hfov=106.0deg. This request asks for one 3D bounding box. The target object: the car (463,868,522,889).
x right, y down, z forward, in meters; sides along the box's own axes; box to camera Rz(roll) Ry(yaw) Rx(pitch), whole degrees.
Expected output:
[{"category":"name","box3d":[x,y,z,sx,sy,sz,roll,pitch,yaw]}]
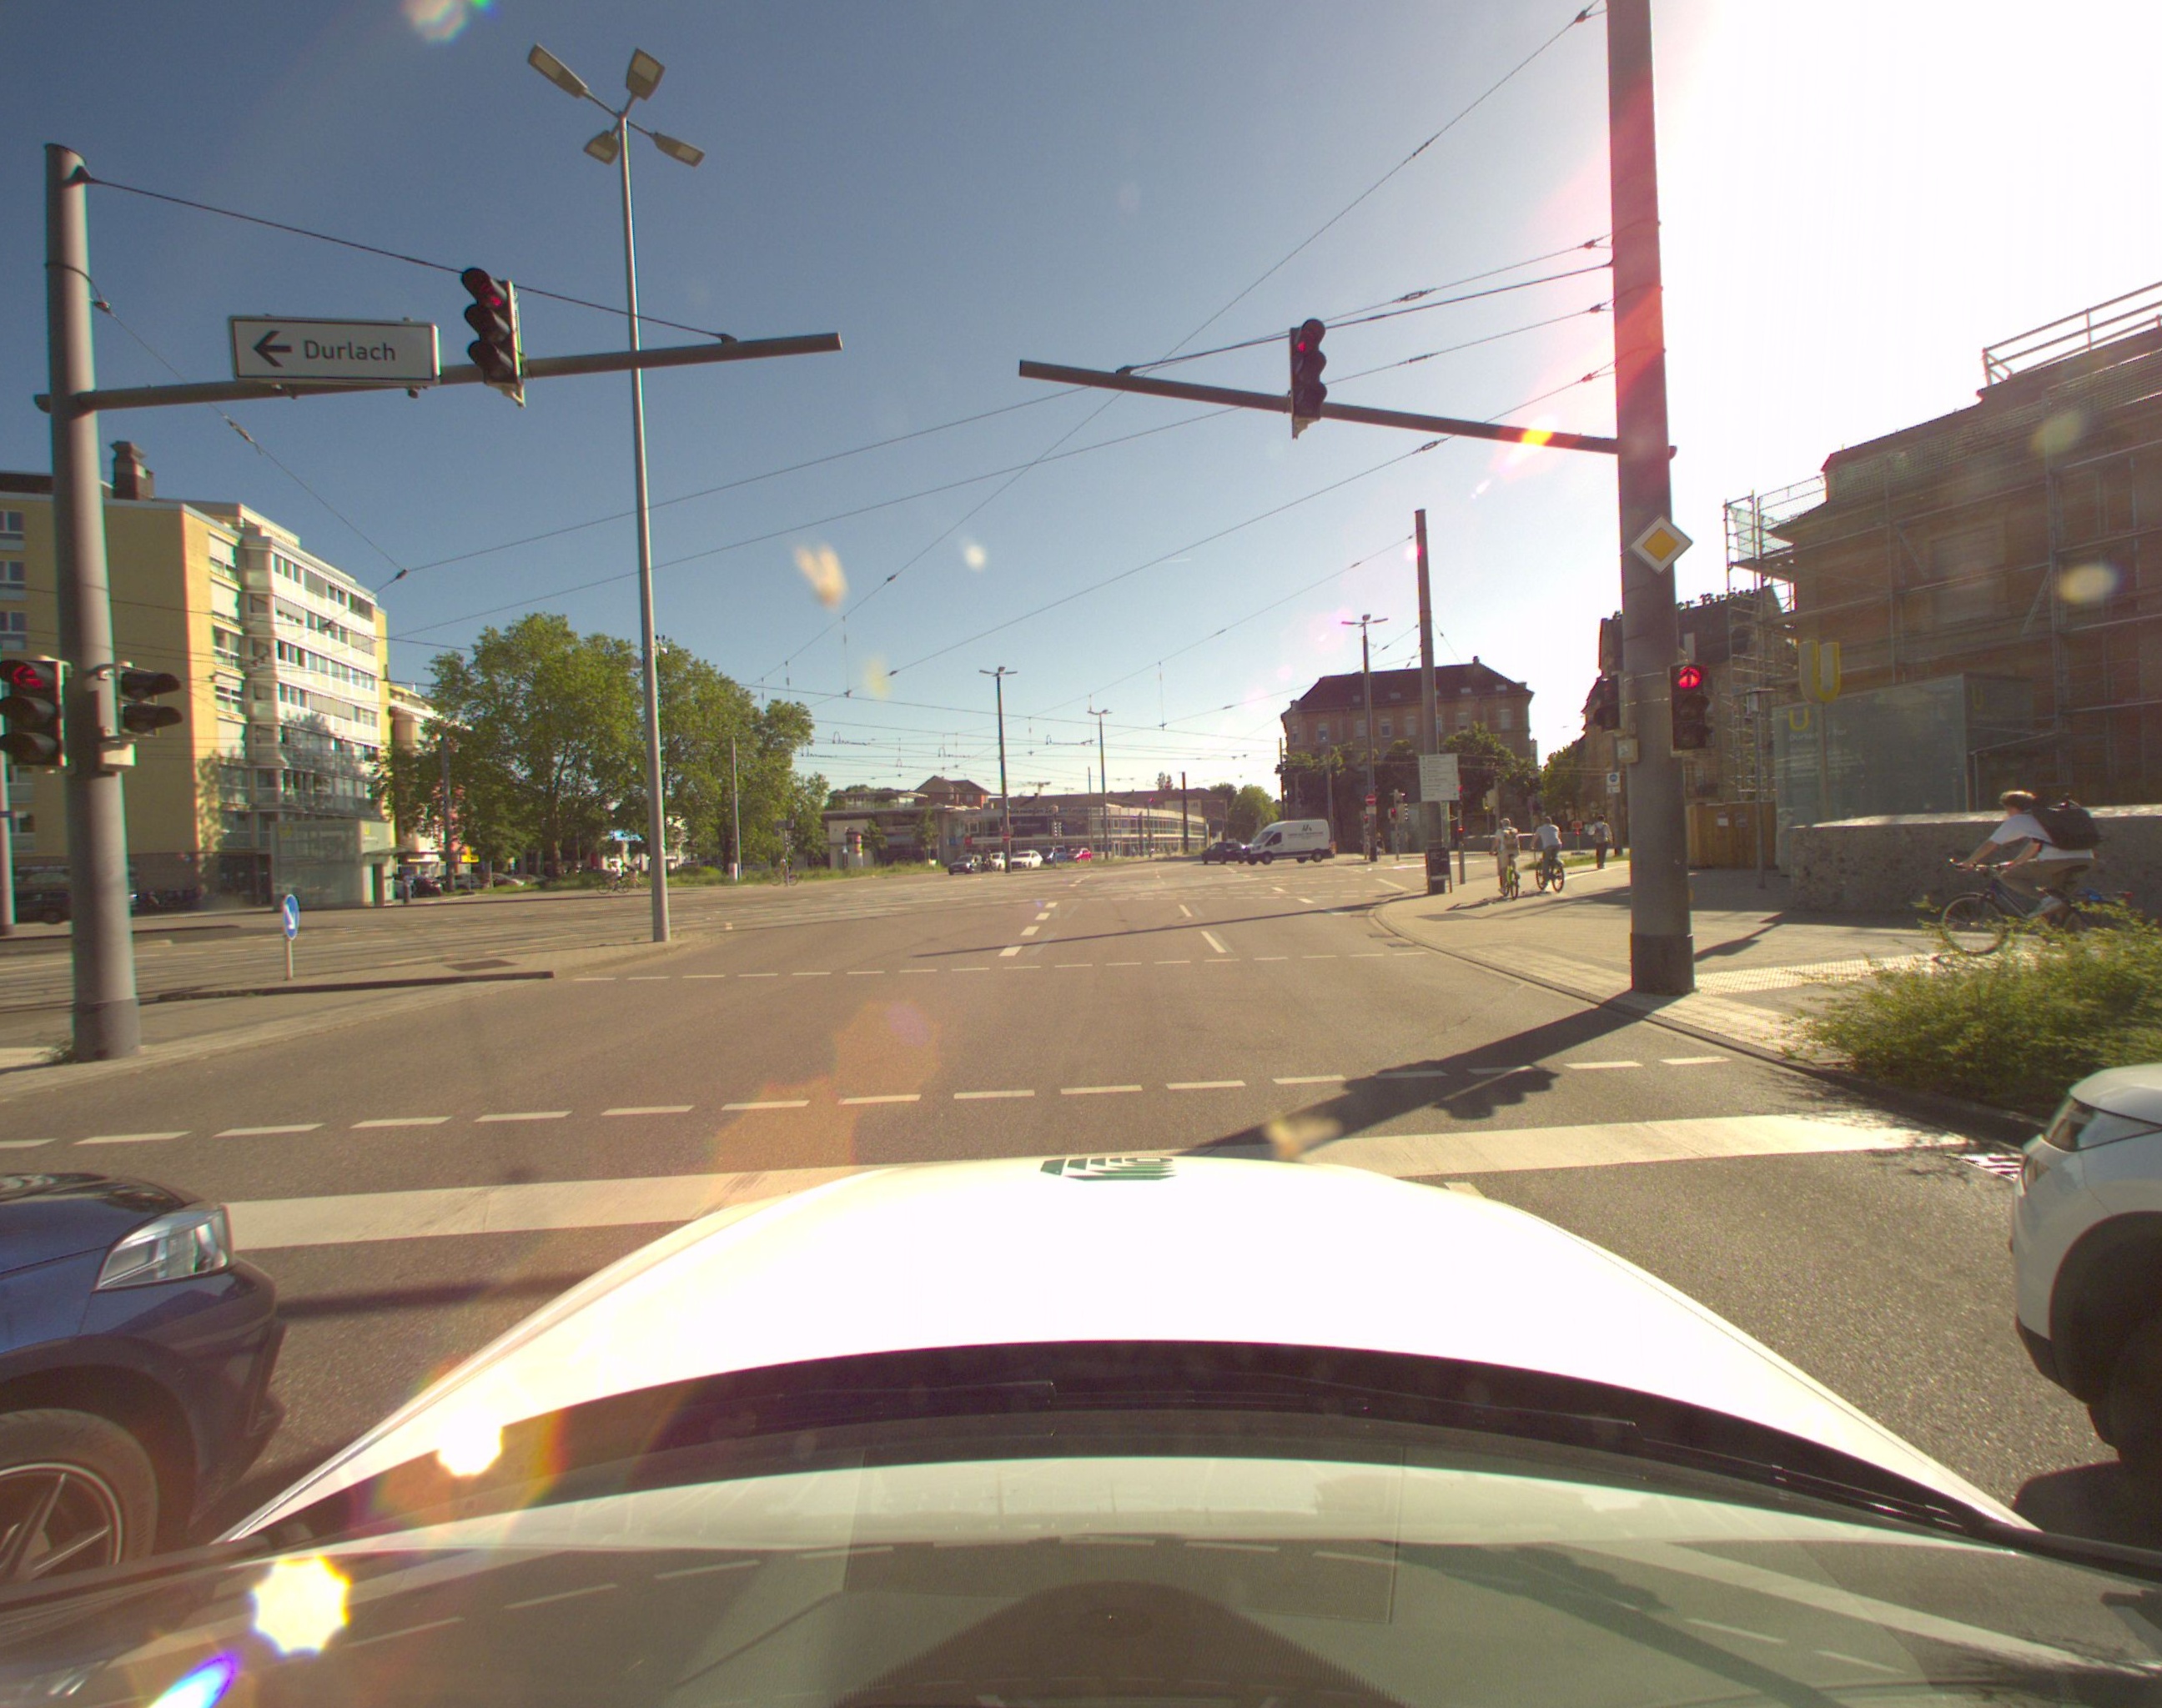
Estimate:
[{"category":"car","box3d":[-51.439,2.127,71.245,3.742,1.662,1.585,-2,0,-18]}]

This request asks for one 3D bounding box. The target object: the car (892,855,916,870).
[{"category":"car","box3d":[-21.849,0.996,100.623,1.958,1.706,4.085,-2,0,2]}]

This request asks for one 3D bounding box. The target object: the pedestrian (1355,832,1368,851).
[{"category":"pedestrian","box3d":[23.886,-1.069,69.320,0.722,1.632,0.749,-2,0,-42]}]

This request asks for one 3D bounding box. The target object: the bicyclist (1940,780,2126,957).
[{"category":"bicyclist","box3d":[9.223,0.132,7.937,0.569,1.568,0.947,-5,0,2]}]

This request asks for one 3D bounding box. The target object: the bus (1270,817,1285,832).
[{"category":"bus","box3d":[59.609,-8.832,246.960,3.808,3.607,24.964,-1,0,15]}]

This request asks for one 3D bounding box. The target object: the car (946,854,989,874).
[{"category":"car","box3d":[-8.488,0.710,61.268,1.689,1.354,3.719,-2,0,19]}]

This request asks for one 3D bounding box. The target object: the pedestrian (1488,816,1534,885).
[{"category":"pedestrian","box3d":[9.940,-0.081,18.852,0.547,1.562,0.857,-2,0,-2]}]

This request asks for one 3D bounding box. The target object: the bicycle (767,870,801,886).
[{"category":"bicycle","box3d":[-19.405,1.566,53.216,2.011,0.913,0.559,-2,0,-19]}]

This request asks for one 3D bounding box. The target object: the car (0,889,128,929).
[{"category":"car","box3d":[-43.285,2.320,33.943,4.222,1.400,1.848,-2,0,-18]}]

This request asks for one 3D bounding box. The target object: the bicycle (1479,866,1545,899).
[{"category":"bicycle","box3d":[9.971,0.646,18.920,0.535,0.655,1.724,-5,0,-2]}]

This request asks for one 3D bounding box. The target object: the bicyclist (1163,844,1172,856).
[{"category":"bicyclist","box3d":[12.172,-0.567,114.631,0.802,1.623,0.935,-2,0,36]}]

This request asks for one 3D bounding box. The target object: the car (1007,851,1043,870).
[{"category":"car","box3d":[-4.460,0.465,65.247,1.613,1.382,3.754,-2,0,17]}]

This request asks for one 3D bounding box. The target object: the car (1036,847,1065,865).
[{"category":"car","box3d":[-2.977,0.181,79.240,1.613,1.692,3.702,-2,0,17]}]

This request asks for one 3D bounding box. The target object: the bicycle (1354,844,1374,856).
[{"category":"bicycle","box3d":[24.146,-0.344,69.532,1.942,0.870,0.736,-2,0,-42]}]

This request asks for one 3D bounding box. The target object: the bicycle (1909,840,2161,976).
[{"category":"bicycle","box3d":[9.257,0.465,7.929,0.569,1.125,1.741,-5,0,2]}]

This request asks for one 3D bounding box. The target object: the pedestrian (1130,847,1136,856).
[{"category":"pedestrian","box3d":[6.821,-0.320,107.045,0.418,1.204,0.684,-2,0,28]}]

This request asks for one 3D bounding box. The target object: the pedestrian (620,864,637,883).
[{"category":"pedestrian","box3d":[-27.050,1.169,48.692,0.749,1.127,0.421,-2,0,-18]}]

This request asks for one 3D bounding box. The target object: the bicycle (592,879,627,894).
[{"category":"bicycle","box3d":[-27.221,1.891,47.036,1.635,0.758,0.421,-2,0,-21]}]

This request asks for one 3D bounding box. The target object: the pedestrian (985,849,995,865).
[{"category":"pedestrian","box3d":[-6.826,0.233,60.835,0.419,1.204,0.753,-2,0,19]}]

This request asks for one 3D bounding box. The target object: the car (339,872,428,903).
[{"category":"car","box3d":[-42.907,2.021,50.191,3.742,1.662,1.585,-2,0,-18]}]

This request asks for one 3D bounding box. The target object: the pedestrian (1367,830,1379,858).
[{"category":"pedestrian","box3d":[21.423,-0.752,59.767,0.574,2.013,0.449,-3,0,-16]}]

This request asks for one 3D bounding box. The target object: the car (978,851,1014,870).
[{"category":"car","box3d":[-6.966,0.507,67.191,1.613,1.424,3.702,-2,0,17]}]

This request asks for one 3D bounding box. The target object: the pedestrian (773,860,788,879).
[{"category":"pedestrian","box3d":[-19.611,0.986,53.154,0.796,1.204,0.557,-2,0,-18]}]

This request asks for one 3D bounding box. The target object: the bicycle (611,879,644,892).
[{"category":"bicycle","box3d":[-27.077,1.869,48.675,1.634,0.718,0.421,-2,0,-18]}]

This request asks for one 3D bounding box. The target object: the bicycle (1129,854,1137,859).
[{"category":"bicycle","box3d":[6.833,0.321,107.029,0.418,0.718,1.484,-2,0,28]}]

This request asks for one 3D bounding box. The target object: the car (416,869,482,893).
[{"category":"car","box3d":[-49.866,2.104,64.321,3.742,1.662,1.585,-2,0,-18]}]

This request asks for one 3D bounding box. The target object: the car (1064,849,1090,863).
[{"category":"car","box3d":[-0.423,0.184,86.310,1.613,1.364,3.703,-2,0,18]}]

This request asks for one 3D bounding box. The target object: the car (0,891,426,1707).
[{"category":"car","box3d":[-2.669,0.832,0.154,1.704,1.445,4.034,-1,0,2]}]

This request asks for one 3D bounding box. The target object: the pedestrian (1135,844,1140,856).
[{"category":"pedestrian","box3d":[8.123,-0.605,117.270,0.537,1.688,0.634,-2,0,29]}]

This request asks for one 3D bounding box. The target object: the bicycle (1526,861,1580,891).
[{"category":"bicycle","box3d":[11.624,0.523,20.092,0.534,0.655,1.469,-3,0,4]}]

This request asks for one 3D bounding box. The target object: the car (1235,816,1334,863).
[{"category":"car","box3d":[13.060,-0.931,52.284,5.924,2.744,2.130,-2,0,-20]}]

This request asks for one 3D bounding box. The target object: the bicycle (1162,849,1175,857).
[{"category":"bicycle","box3d":[12.315,-0.157,114.893,0.802,1.045,2.141,-2,0,36]}]

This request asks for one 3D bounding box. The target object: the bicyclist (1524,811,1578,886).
[{"category":"bicyclist","box3d":[11.587,-0.135,20.108,0.744,1.778,0.925,-3,0,4]}]

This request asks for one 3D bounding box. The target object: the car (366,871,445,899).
[{"category":"car","box3d":[-45.780,2.055,55.302,3.742,1.662,1.585,-2,0,-18]}]

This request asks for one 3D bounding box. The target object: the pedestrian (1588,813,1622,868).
[{"category":"pedestrian","box3d":[18.271,-0.485,28.398,0.887,1.859,0.933,-2,0,36]}]

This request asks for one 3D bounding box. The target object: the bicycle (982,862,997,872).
[{"category":"bicycle","box3d":[-6.815,0.962,60.773,0.419,0.718,1.642,-2,0,19]}]

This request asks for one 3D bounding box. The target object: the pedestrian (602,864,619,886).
[{"category":"pedestrian","box3d":[-27.185,1.205,47.061,0.750,1.204,0.421,-2,0,-21]}]

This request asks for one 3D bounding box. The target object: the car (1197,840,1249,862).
[{"category":"car","box3d":[10.699,-0.223,61.449,1.707,1.503,4.229,-2,0,-25]}]

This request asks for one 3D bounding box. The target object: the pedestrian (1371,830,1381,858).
[{"category":"pedestrian","box3d":[21.854,-0.747,60.382,0.461,2.013,0.449,-3,0,-16]}]
